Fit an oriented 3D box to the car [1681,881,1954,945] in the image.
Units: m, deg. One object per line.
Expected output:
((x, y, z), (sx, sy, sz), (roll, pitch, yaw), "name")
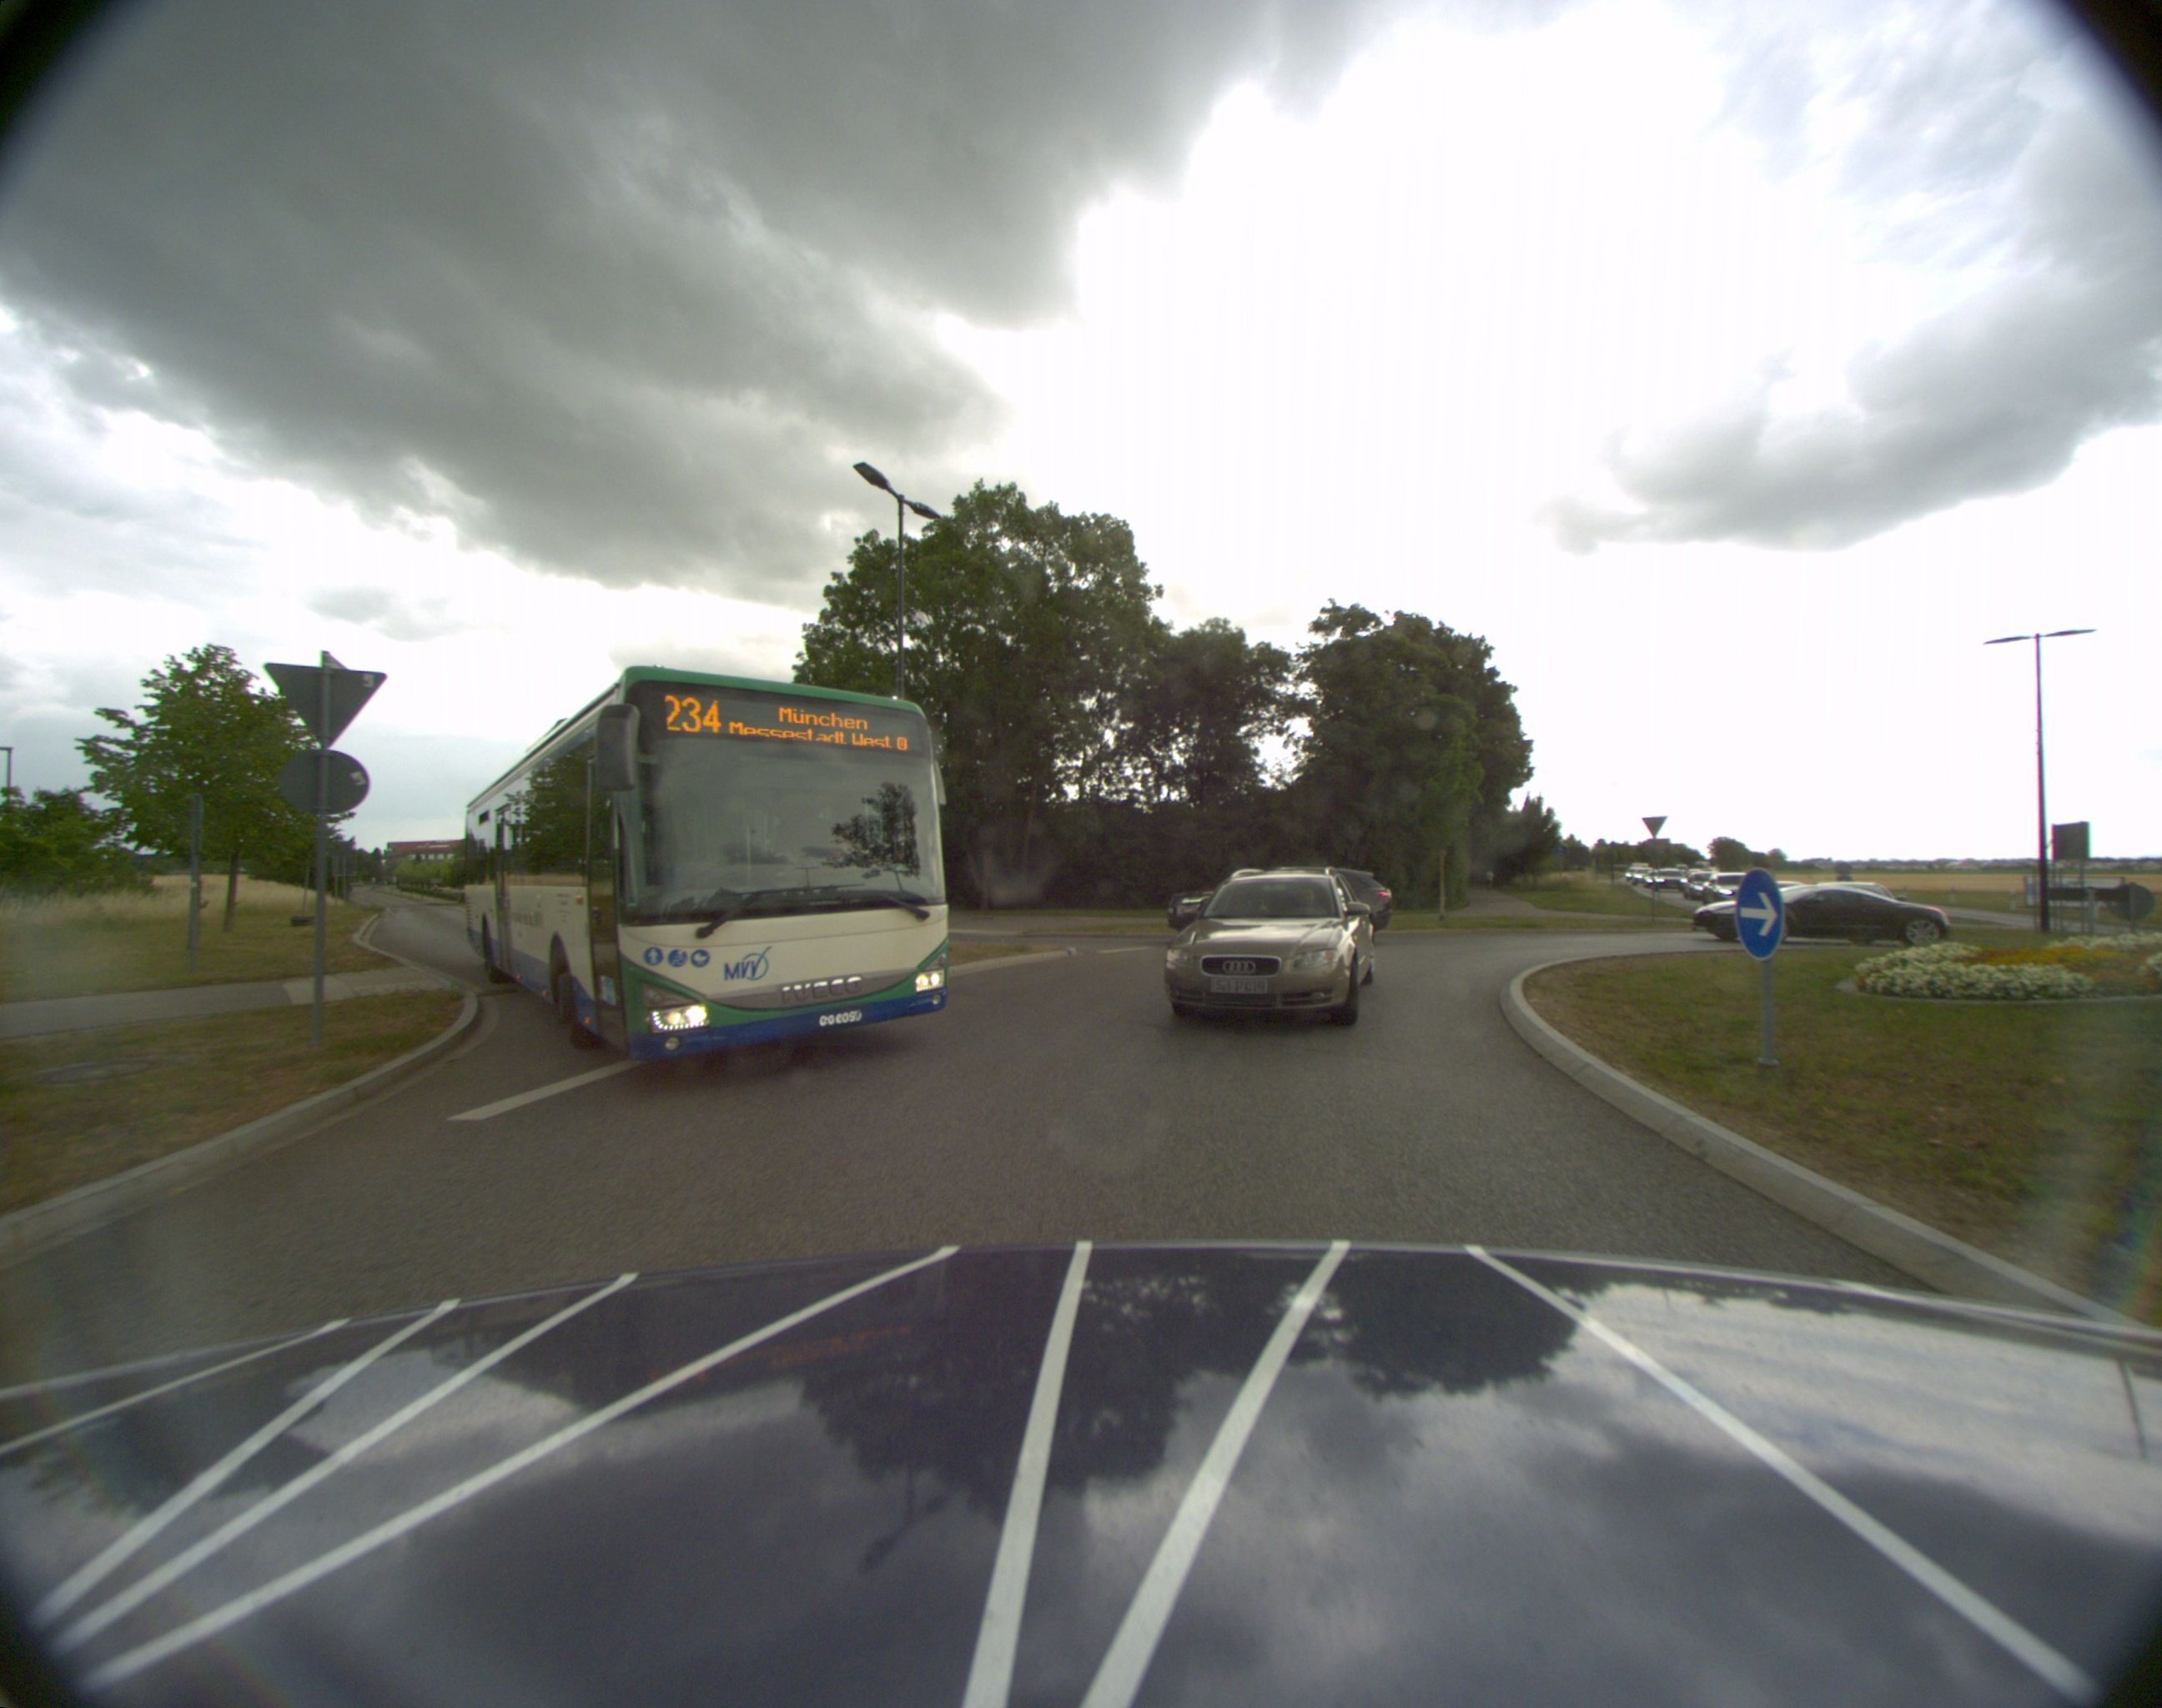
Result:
((16.591, 1.289, 17.376), (4.107, 1.299, 1.833), (0, -1, 14), "car")

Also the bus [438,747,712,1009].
((-8.308, 0.276, 12.191), (2.529, 3.240, 5.445), (-5, 3, -44), "bus")

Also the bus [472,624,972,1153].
((-4.182, 0.205, 7.864), (2.529, 3.240, 6.530), (-5, 3, -44), "bus")

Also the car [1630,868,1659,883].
((52.859, 2.026, 71.335), (1.777, 1.310, 3.818), (-2, -1, 31), "car")

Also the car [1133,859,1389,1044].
((2.274, 0.886, 8.429), (1.779, 1.455, 4.550), (-3, -3, 25), "car")

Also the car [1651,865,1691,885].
((41.979, 1.500, 54.106), (1.777, 1.310, 3.818), (-2, -1, 31), "car")

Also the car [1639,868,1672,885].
((47.554, 1.858, 62.963), (1.777, 1.310, 3.818), (-2, -1, 31), "car")

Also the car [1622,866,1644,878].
((67.674, 2.223, 93.139), (1.777, 1.310, 3.818), (-2, -1, 31), "car")

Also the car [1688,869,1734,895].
((35.673, 1.562, 43.100), (1.777, 1.310, 3.818), (-2, -1, 36), "car")

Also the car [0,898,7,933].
((-46.827, 2.612, 30.533), (1.879, 1.435, 4.009), (-1, 0, 42), "car")

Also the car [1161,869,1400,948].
((4.212, 1.137, 16.418), (4.588, 1.564, 1.999), (1, -2, -10), "car")

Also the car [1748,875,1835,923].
((25.222, 1.547, 27.086), (1.777, 1.489, 3.818), (-2, -1, 36), "car")

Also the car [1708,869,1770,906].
((29.788, 1.479, 34.510), (1.777, 1.489, 3.818), (-2, -1, 36), "car")

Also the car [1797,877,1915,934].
((22.172, 1.435, 21.909), (1.836, 1.449, 4.146), (-1, -3, 38), "car")
